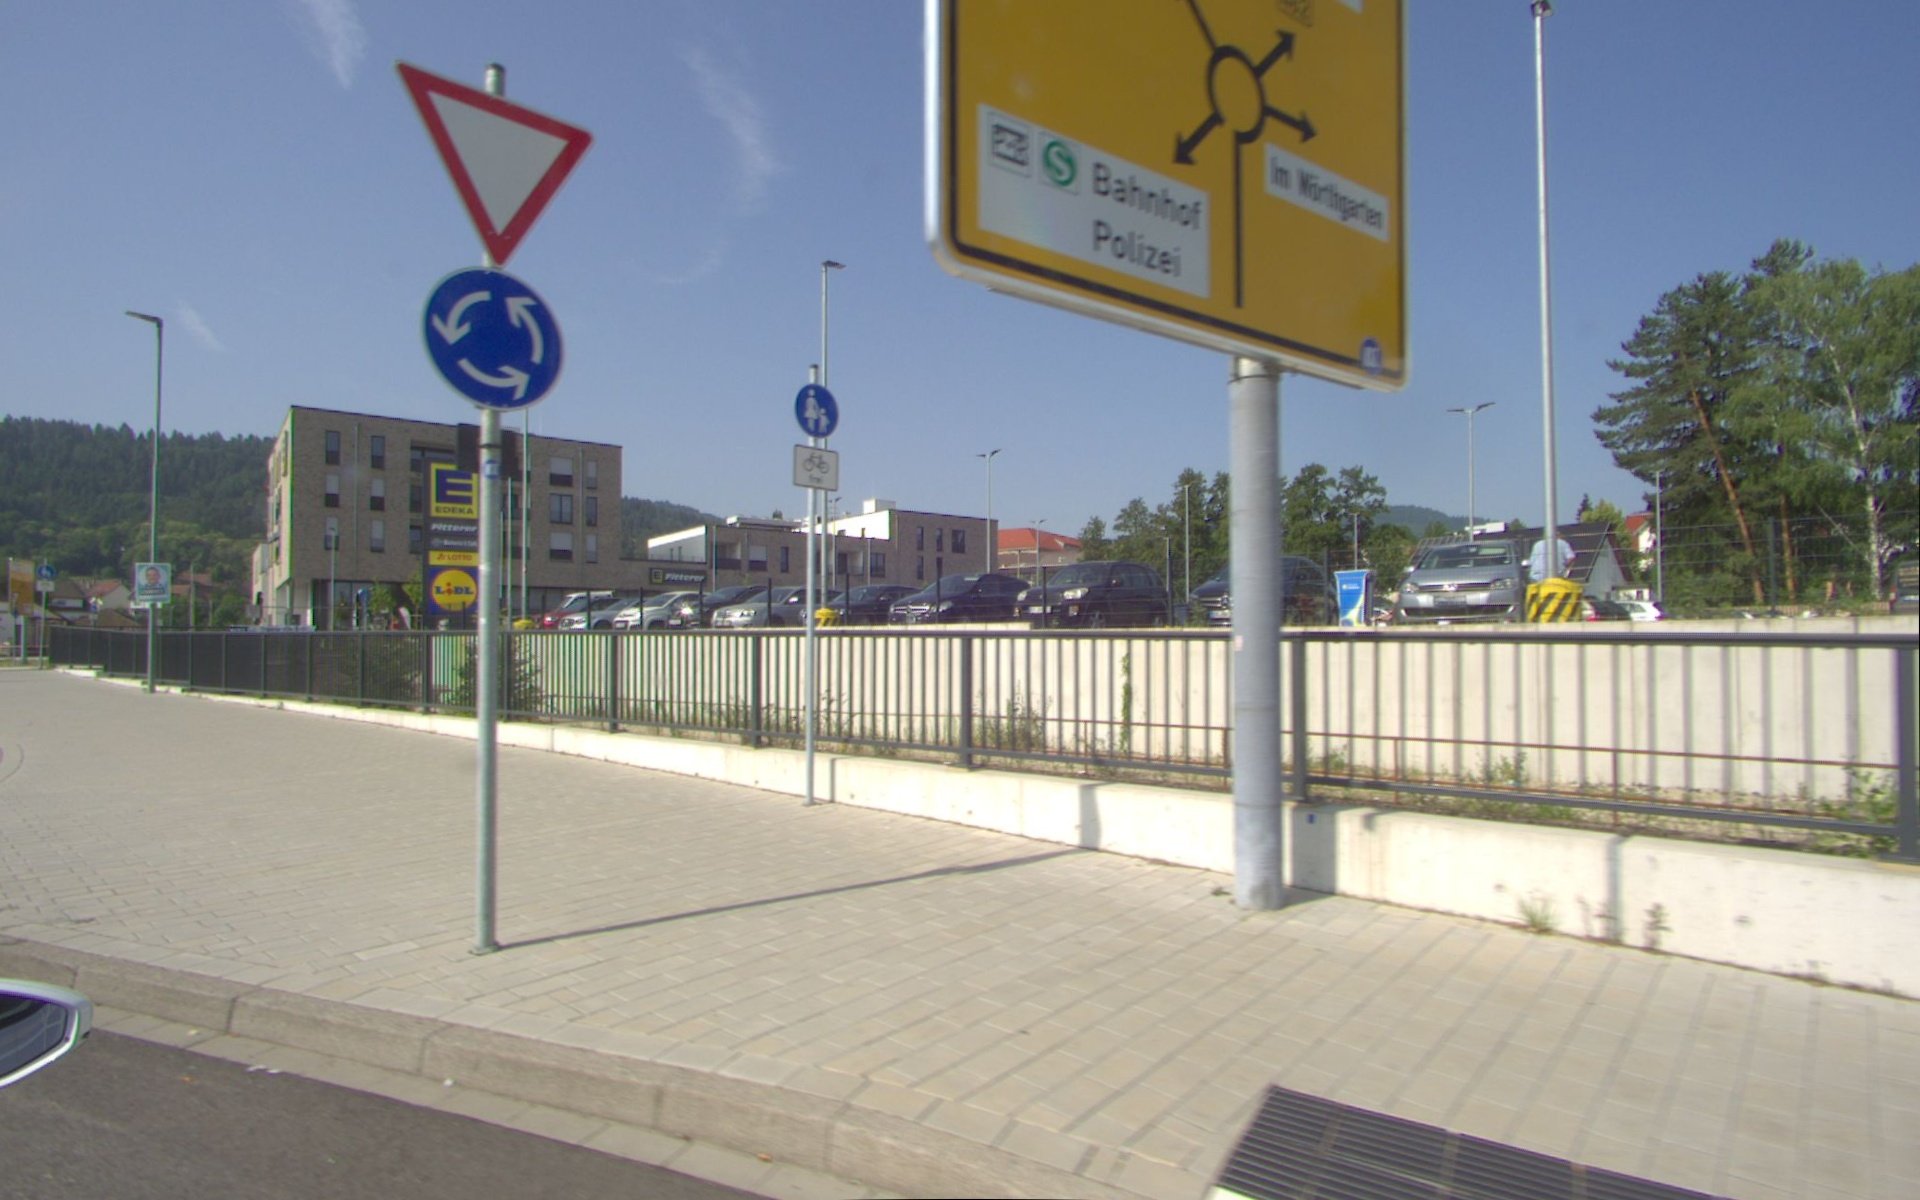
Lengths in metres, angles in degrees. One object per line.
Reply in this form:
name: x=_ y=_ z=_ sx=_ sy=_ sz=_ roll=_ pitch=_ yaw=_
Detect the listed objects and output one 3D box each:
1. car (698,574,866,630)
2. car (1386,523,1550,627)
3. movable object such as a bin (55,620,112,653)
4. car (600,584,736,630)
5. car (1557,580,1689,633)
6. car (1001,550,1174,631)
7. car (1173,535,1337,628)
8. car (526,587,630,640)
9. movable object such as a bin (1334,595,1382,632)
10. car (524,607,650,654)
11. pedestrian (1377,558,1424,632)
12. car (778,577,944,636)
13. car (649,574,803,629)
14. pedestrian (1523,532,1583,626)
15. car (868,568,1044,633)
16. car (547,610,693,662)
car: x=-4.489 y=0.108 z=25.765 sx=1.643 sy=1.261 sz=4.264 roll=-1 pitch=-3 yaw=38
car: x=8.168 y=-0.298 z=15.946 sx=1.660 sy=1.381 sz=3.793 roll=-1 pitch=-3 yaw=38
movable object such as a bin: x=-50.574 y=2.128 z=57.780 sx=2.427 sy=1.867 sz=1.415 roll=1 pitch=-3 yaw=-43
car: x=-8.583 y=0.250 z=29.608 sx=1.693 sy=1.214 sz=3.543 roll=-1 pitch=-3 yaw=38
car: x=22.560 y=0.251 z=34.130 sx=3.587 sy=1.651 sz=1.590 roll=-3 pitch=-3 yaw=41
car: x=2.685 y=-0.103 z=20.305 sx=1.703 sy=1.422 sz=3.992 roll=-1 pitch=-3 yaw=38
car: x=5.395 y=-0.241 z=17.993 sx=1.467 sy=1.422 sz=4.048 roll=-1 pitch=-3 yaw=38
car: x=-16.498 y=0.613 z=43.303 sx=3.943 sy=2.163 sz=1.990 roll=1 pitch=-2 yaw=-31
movable object such as a bin: x=8.259 y=0.292 z=20.790 sx=0.826 sy=0.732 sz=0.481 roll=-2 pitch=-2 yaw=35
car: x=-12.298 y=1.026 z=33.139 sx=1.690 sy=1.448 sz=3.543 roll=-1 pitch=-3 yaw=38
pedestrian: x=8.938 y=-0.087 z=20.328 sx=0.764 sy=1.444 sz=0.546 roll=-2 pitch=-2 yaw=36
car: x=-2.274 y=0.209 z=23.940 sx=1.708 sy=1.261 sz=3.953 roll=-1 pitch=-3 yaw=38
car: x=-6.422 y=0.102 z=27.844 sx=1.640 sy=1.359 sz=4.022 roll=-1 pitch=-3 yaw=38
pedestrian: x=8.726 y=-0.293 z=14.730 sx=0.649 sy=1.328 sz=0.545 roll=-2 pitch=-2 yaw=40
car: x=0.014 y=0.072 z=22.323 sx=1.722 sy=1.261 sz=4.199 roll=-1 pitch=-3 yaw=38
car: x=-10.609 y=1.142 z=31.431 sx=1.697 sy=1.506 sz=4.039 roll=-1 pitch=-3 yaw=41
